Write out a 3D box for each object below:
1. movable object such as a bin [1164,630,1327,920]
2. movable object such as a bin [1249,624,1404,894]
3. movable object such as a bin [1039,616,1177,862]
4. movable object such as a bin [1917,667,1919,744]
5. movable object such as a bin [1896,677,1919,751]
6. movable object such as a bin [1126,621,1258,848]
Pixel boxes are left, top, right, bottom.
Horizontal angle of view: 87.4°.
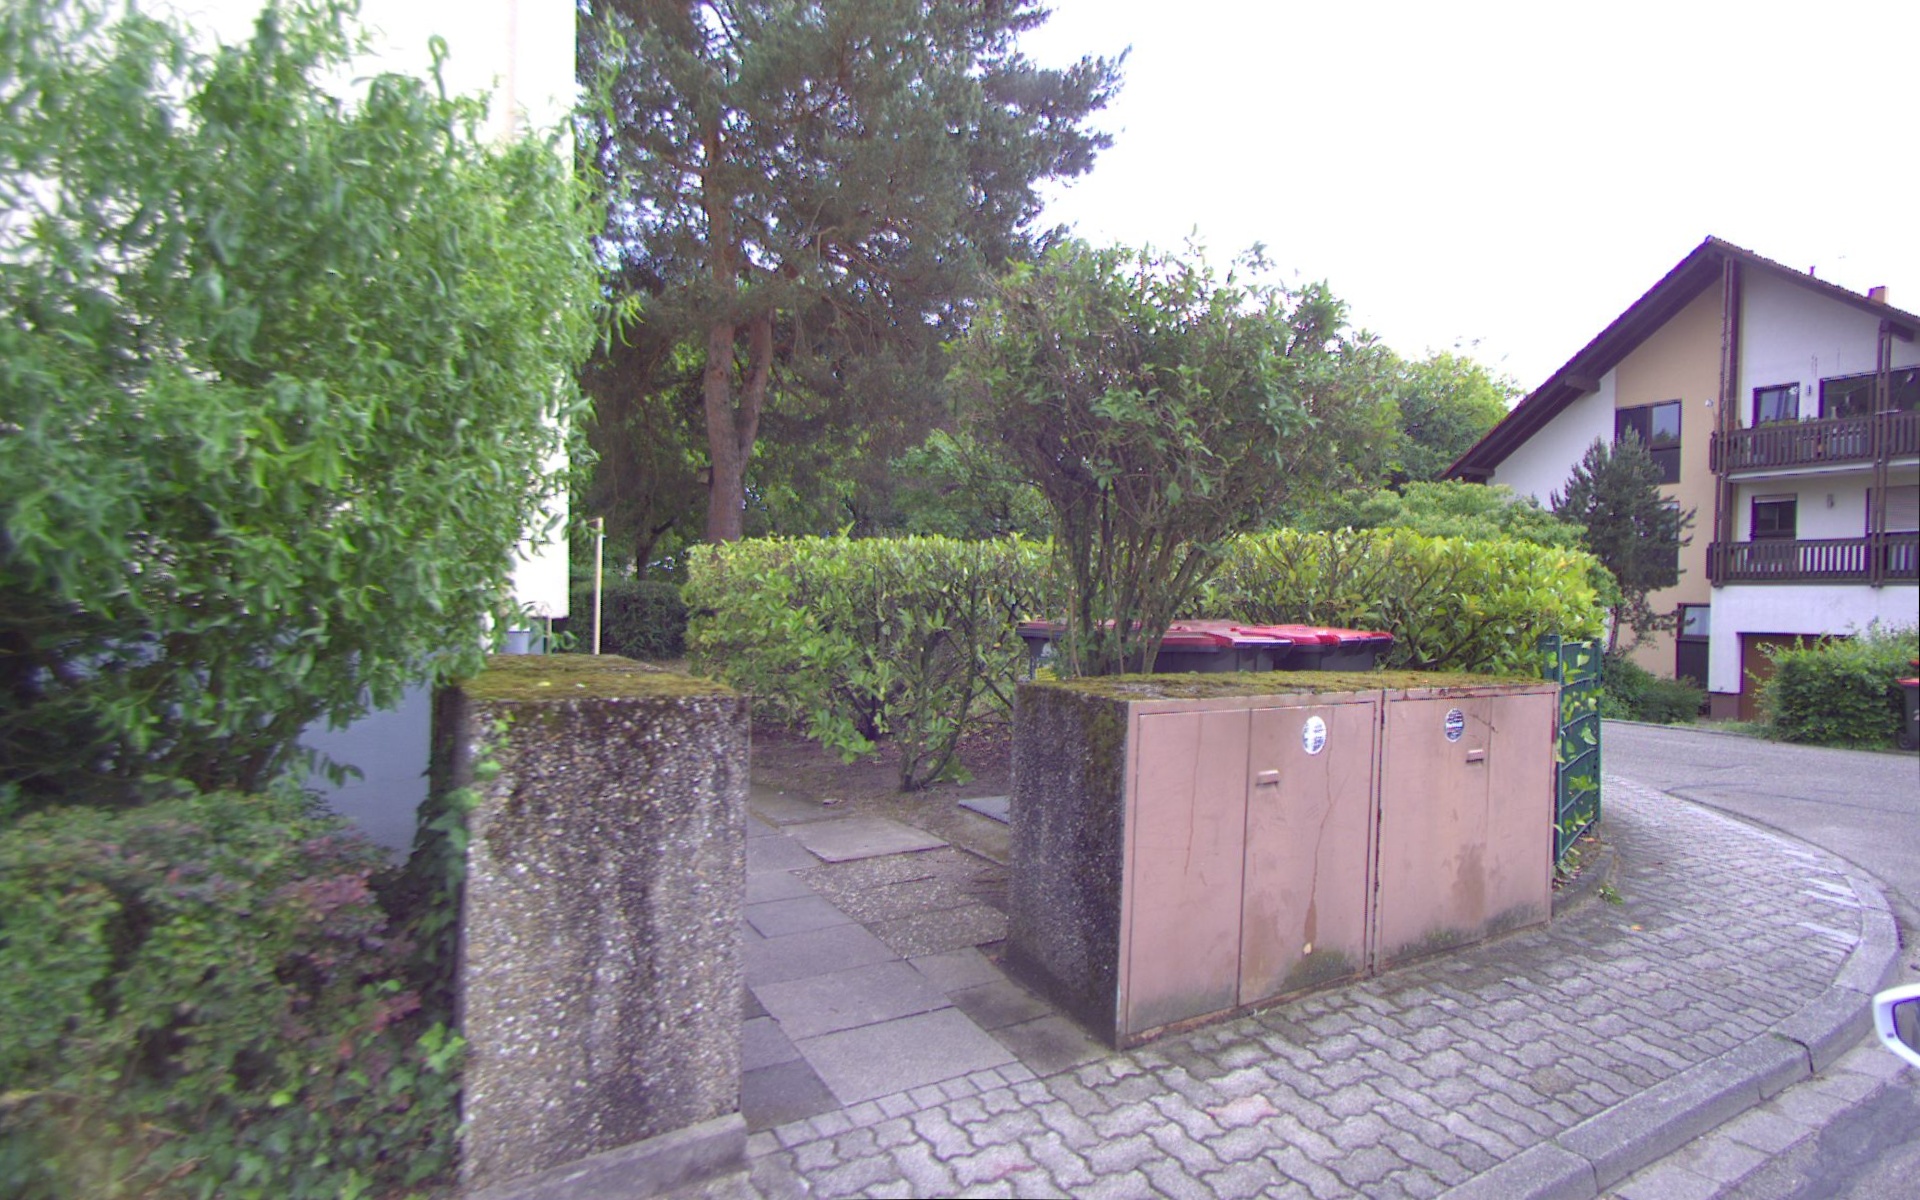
[{"bbox_3d":[1.287,0.742,4.548,0.510,1.203,0.502,1,-1,-33],"label":"movable object such as a bin"},{"bbox_3d":[1.764,0.719,4.848,0.510,1.203,0.502,1,-1,-33],"label":"movable object such as a bin"},{"bbox_3d":[0.771,0.687,5.259,0.510,1.203,0.502,1,-1,-33],"label":"movable object such as a bin"},{"bbox_3d":[11.930,1.253,12.069,0.375,1.007,0.534,1,1,-33],"label":"movable object such as a bin"},{"bbox_3d":[11.493,1.361,11.986,0.375,0.848,0.383,1,1,-34],"label":"movable object such as a bin"},{"bbox_3d":[1.286,0.708,5.583,0.510,1.180,0.502,1,-1,-33],"label":"movable object such as a bin"}]
